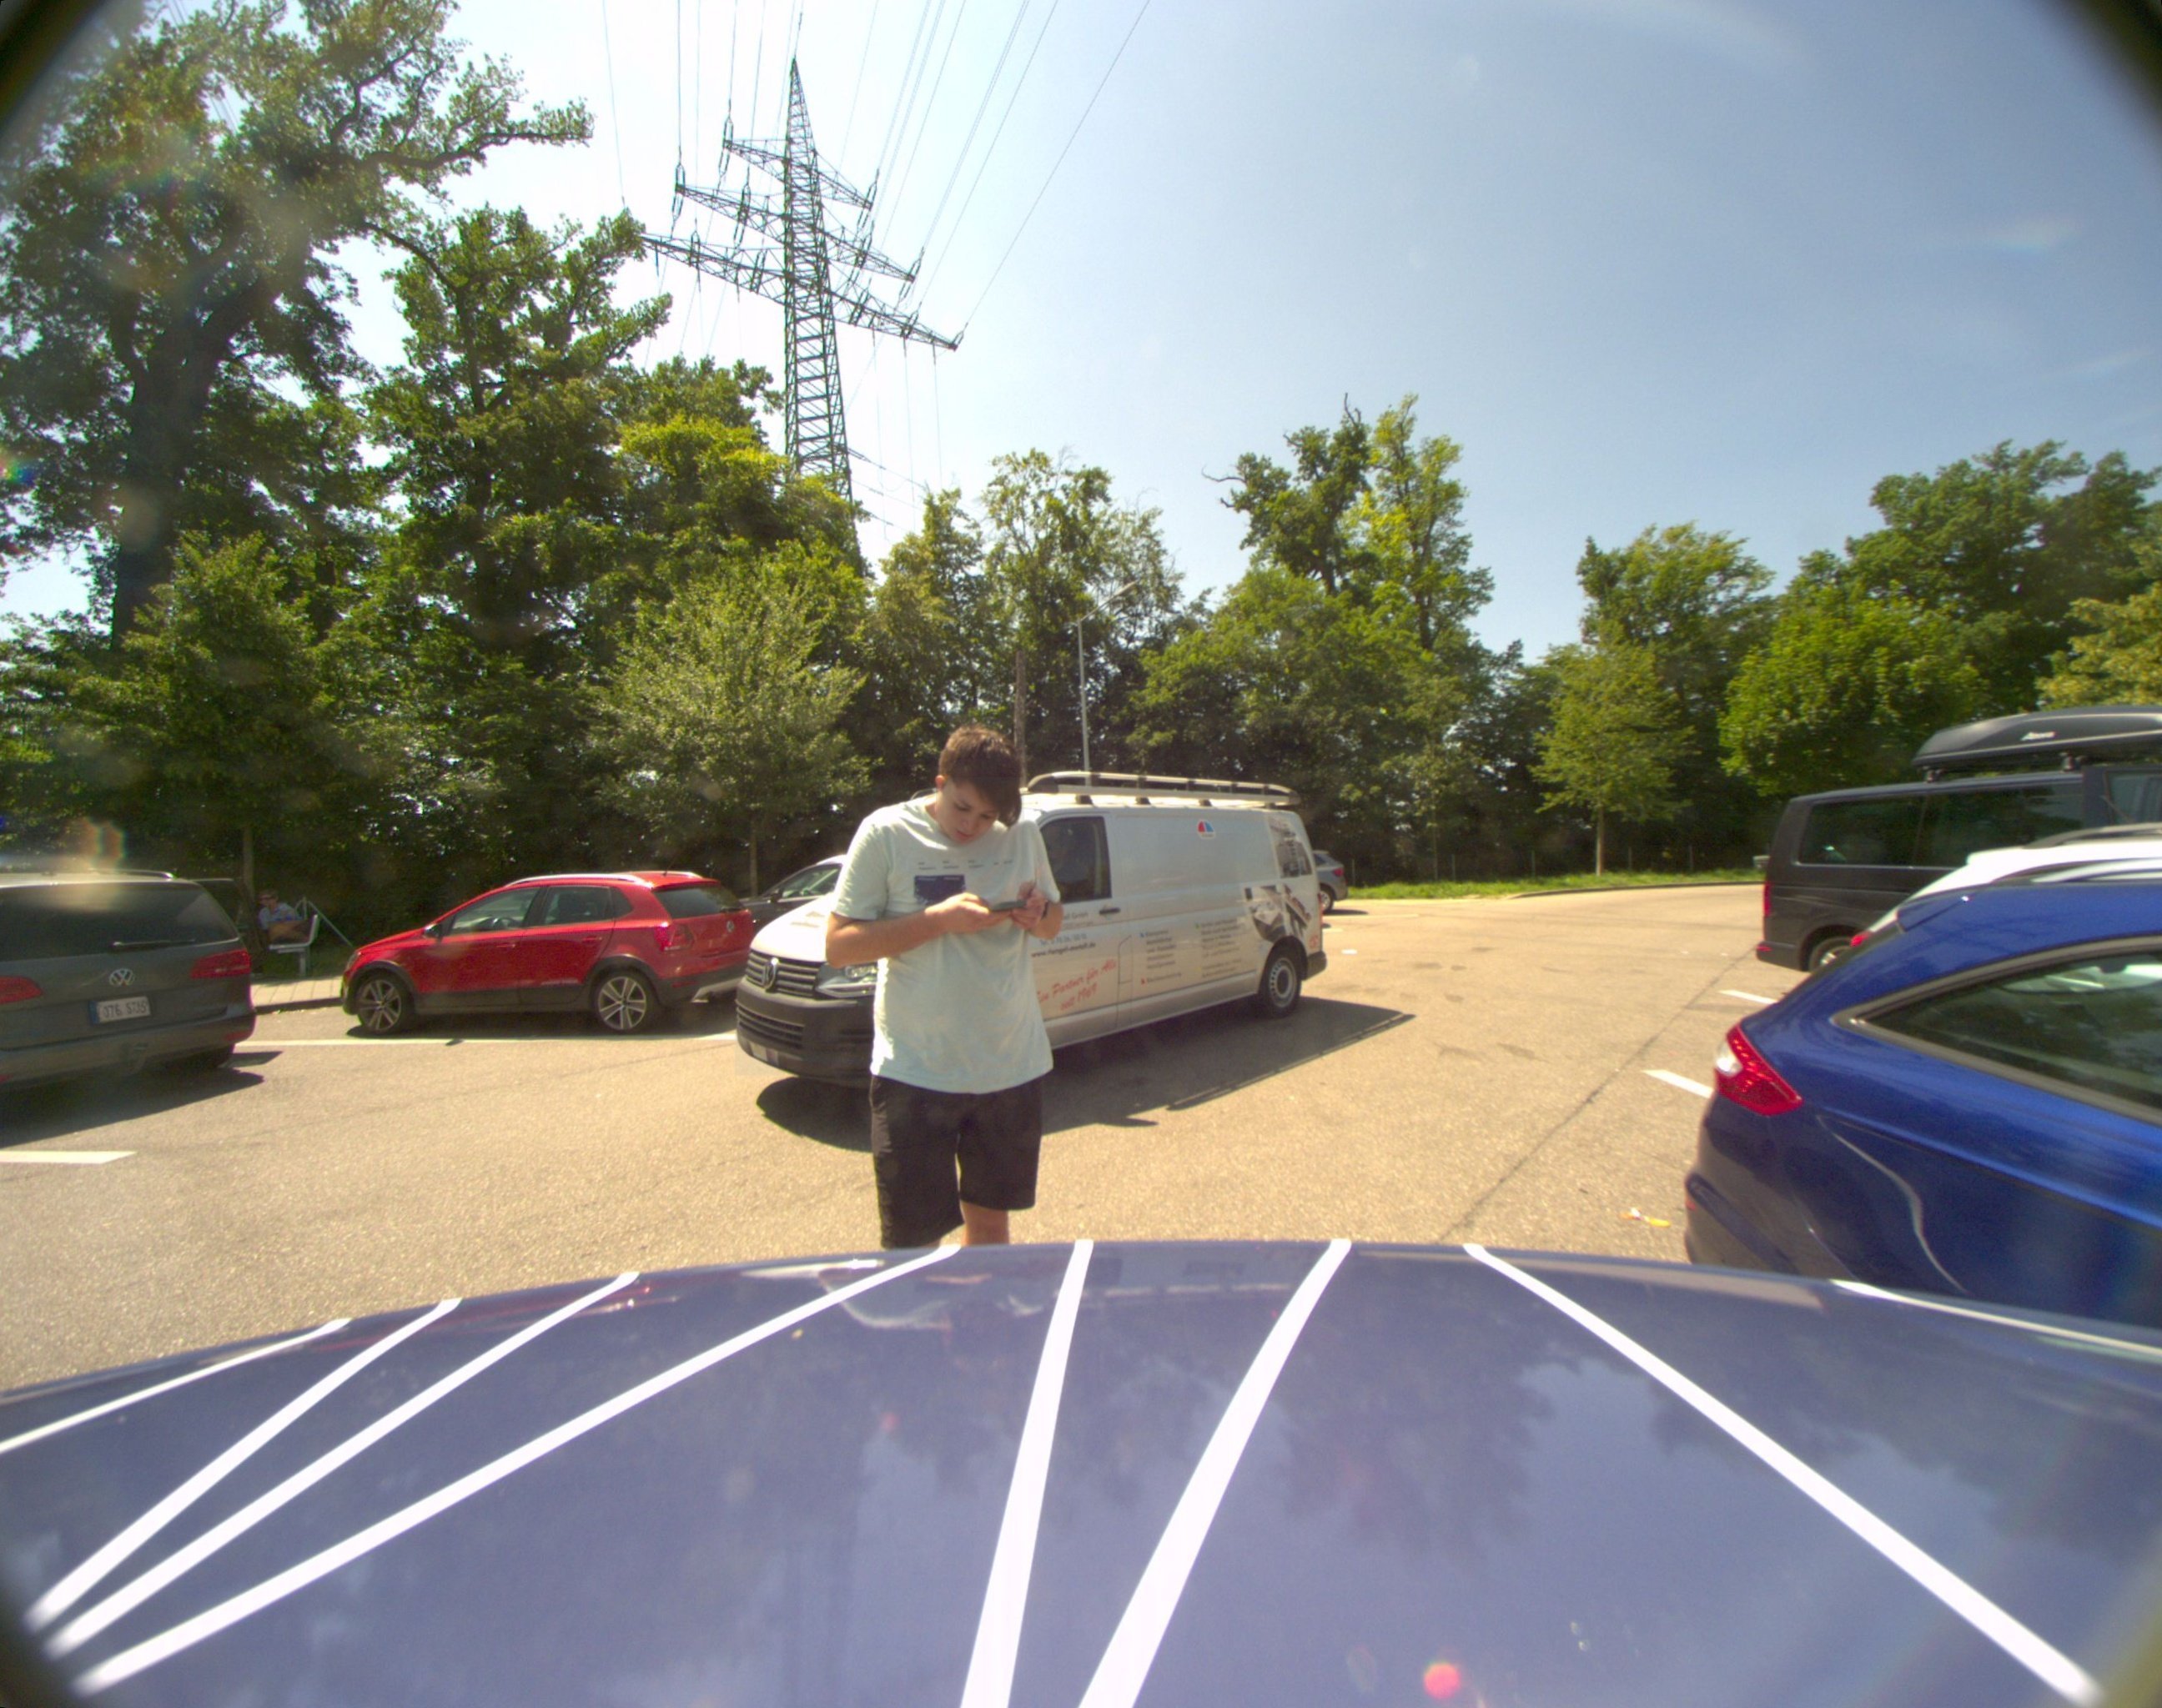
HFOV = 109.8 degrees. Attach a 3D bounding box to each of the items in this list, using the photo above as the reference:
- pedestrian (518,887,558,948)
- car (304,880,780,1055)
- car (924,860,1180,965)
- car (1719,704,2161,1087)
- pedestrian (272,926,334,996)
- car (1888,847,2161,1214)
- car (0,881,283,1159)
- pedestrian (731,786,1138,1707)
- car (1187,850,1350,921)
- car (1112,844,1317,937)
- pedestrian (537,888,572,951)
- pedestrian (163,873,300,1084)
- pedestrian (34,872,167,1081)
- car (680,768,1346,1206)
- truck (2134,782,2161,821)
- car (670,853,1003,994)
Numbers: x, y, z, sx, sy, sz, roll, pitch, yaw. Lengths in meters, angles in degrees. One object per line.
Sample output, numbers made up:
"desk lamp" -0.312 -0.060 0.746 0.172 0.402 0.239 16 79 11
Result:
"pedestrian" -10.970 1.285 15.370 0.413 1.186 0.443 -2 1 12
"car" -5.243 1.074 7.651 3.745 1.458 1.621 -2 0 7
"car" -0.372 0.889 12.195 3.773 1.445 1.848 -2 0 4
"car" 7.317 0.238 5.433 1.788 2.304 4.084 -2 0 -5
"pedestrian" -10.801 1.474 10.564 0.503 0.874 0.512 -3 1 -39
"car" 4.721 0.657 2.249 1.344 1.352 3.114 -2 0 1
"car" -8.326 1.090 5.433 3.903 1.607 1.705 -2 1 11
"pedestrian" -0.372 0.782 1.863 0.741 1.818 0.613 -2 0 -34
"car" 4.353 0.731 18.117 3.585 1.493 1.707 -2 1 8
"car" 2.617 0.710 15.462 3.850 1.678 1.755 -2 0 4
"pedestrian" -10.186 1.261 14.706 0.366 1.186 0.356 -2 1 21
"pedestrian" -7.373 1.041 6.610 0.481 1.712 0.589 -2 1 22
"pedestrian" -8.486 1.030 6.588 0.436 1.712 0.511 -2 1 17
"car" 0.012 0.600 6.189 5.445 2.092 1.839 -1 1 -45
"truck" 40.197 -1.959 27.081 1.168 1.367 2.882 -2 -1 -19
"car" -3.110 0.862 10.226 3.866 1.607 1.709 -2 0 0
